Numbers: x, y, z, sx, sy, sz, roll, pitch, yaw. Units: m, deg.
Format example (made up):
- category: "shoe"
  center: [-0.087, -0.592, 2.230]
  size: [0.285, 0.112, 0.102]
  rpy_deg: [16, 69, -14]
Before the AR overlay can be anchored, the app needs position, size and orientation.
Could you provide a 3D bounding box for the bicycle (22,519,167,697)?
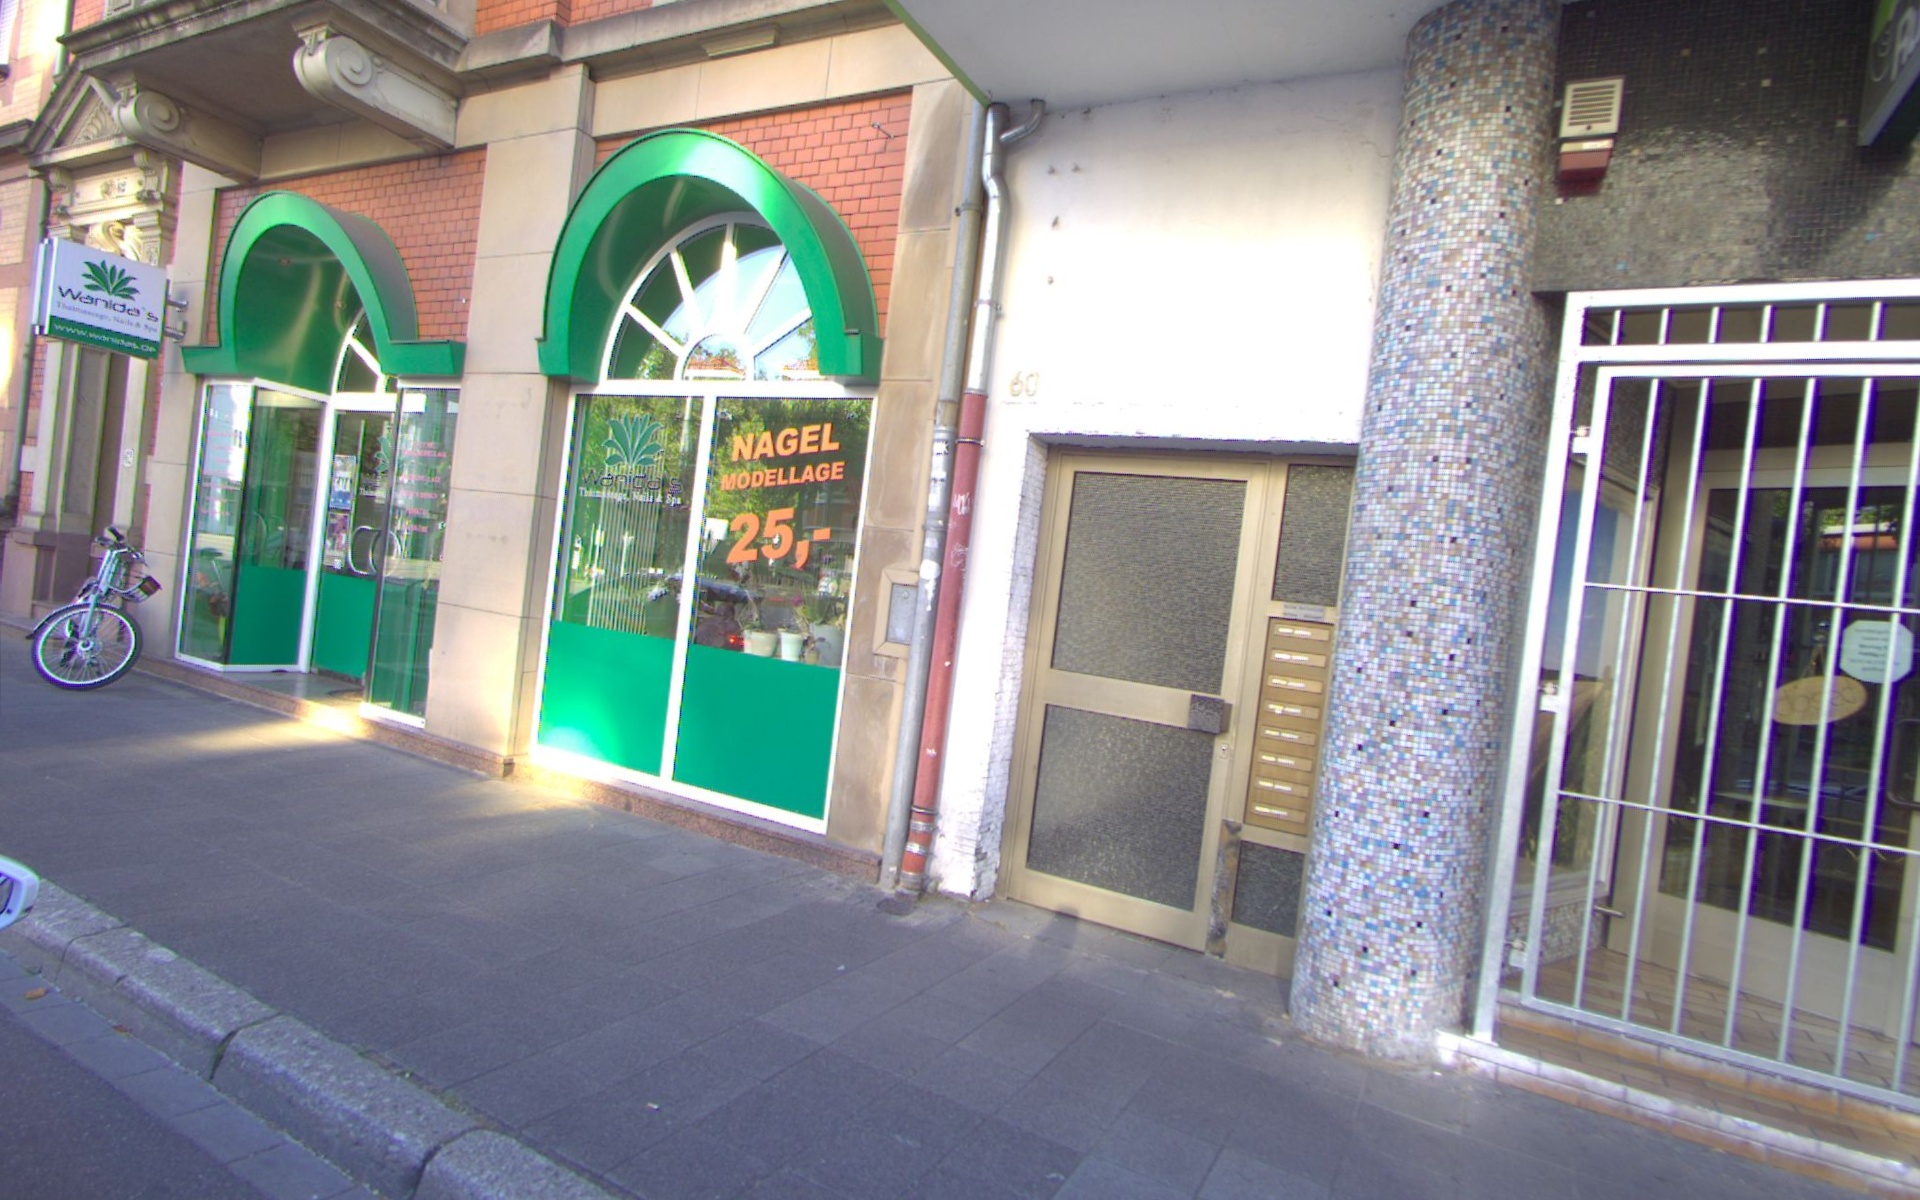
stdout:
- category: "bicycle"
  center: [-6.584, 0.033, 7.648]
  size: [0.712, 1.167, 1.635]
  rpy_deg: [4, 2, -42]
